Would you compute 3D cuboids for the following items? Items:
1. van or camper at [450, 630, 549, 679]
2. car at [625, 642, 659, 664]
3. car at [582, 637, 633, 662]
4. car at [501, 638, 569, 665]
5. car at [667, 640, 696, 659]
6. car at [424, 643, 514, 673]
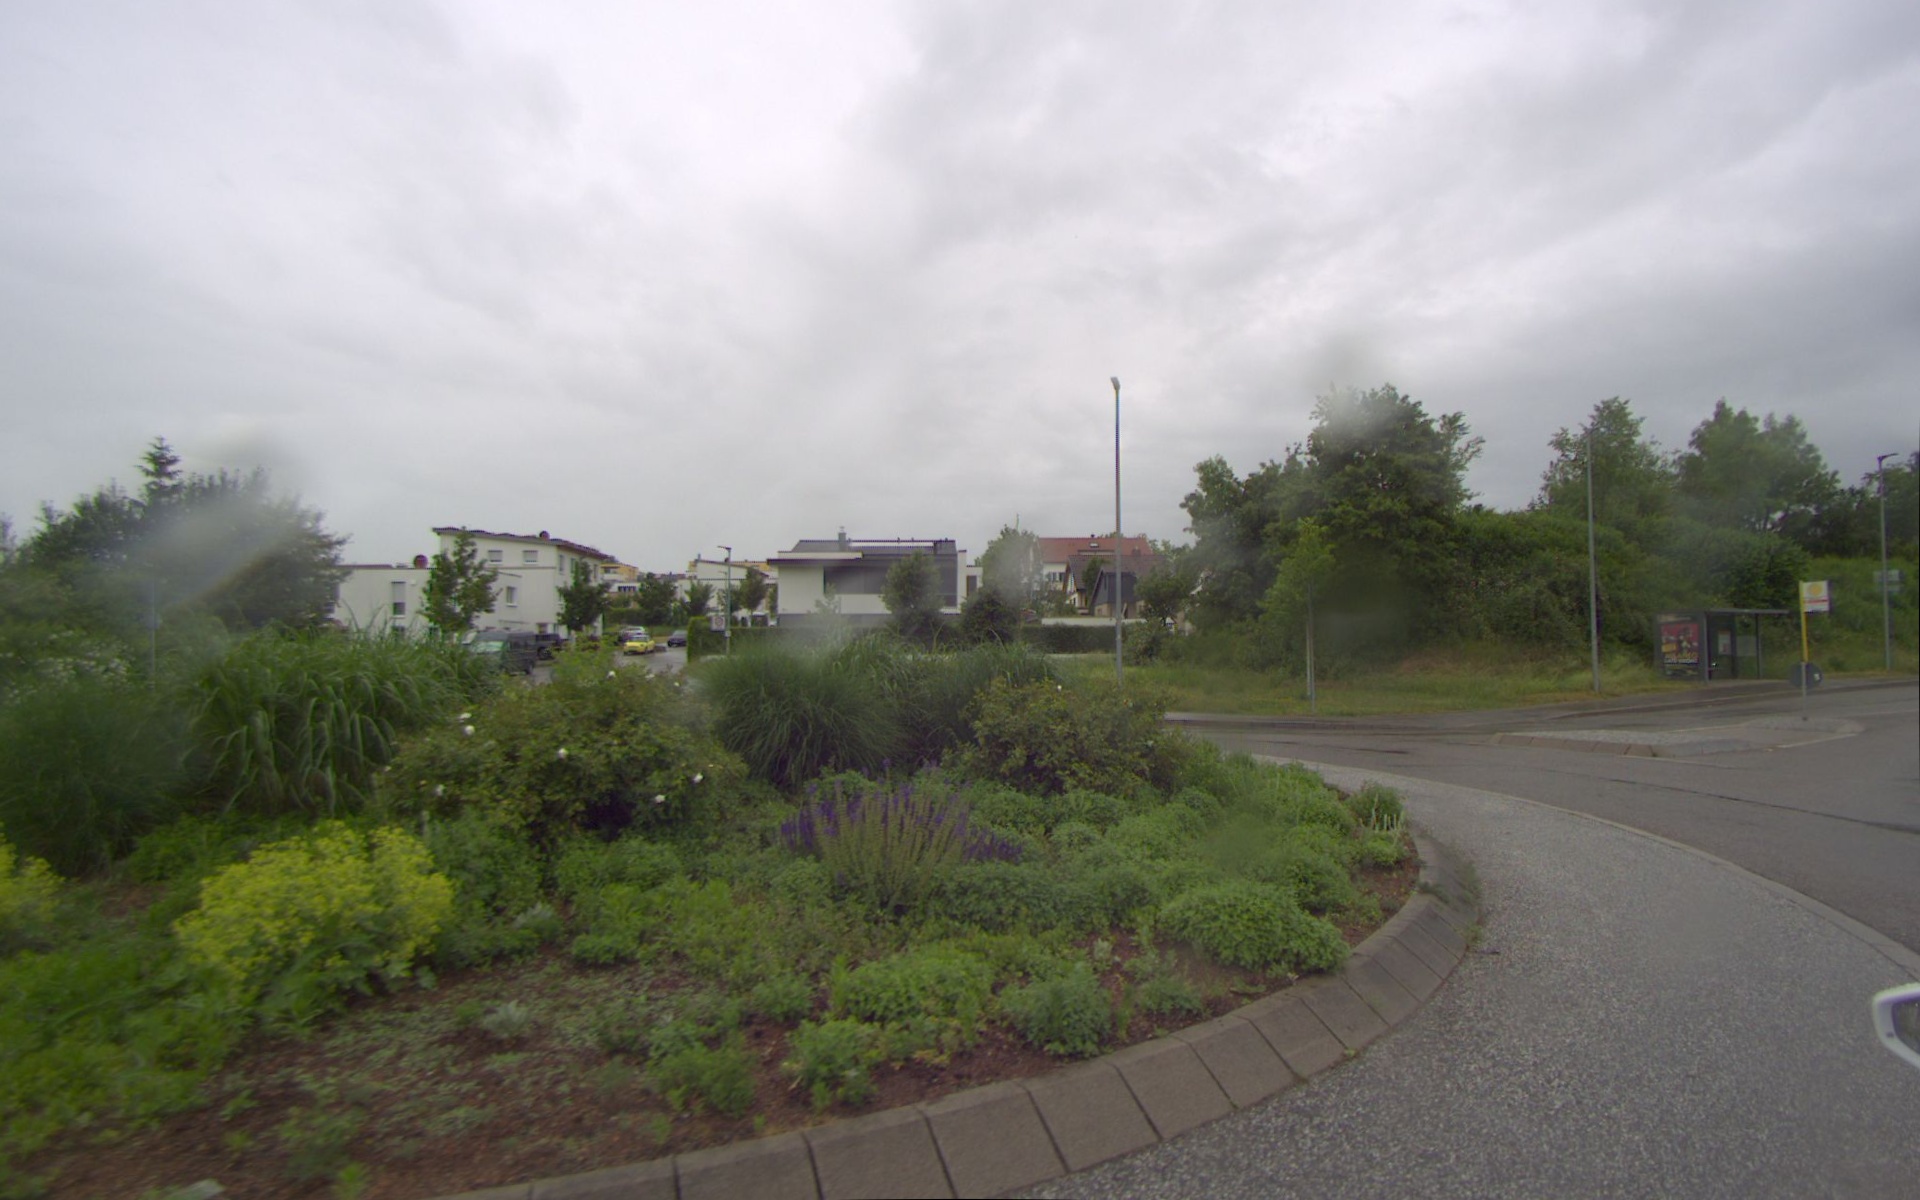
[{"bbox_3d":[-24.945,2.920,54.788,2.482,2.526,6.210,0,-2,0],"label":"van or camper"},{"bbox_3d":[-25.662,4.275,81.148,1.653,1.679,3.576,0,-2,-2],"label":"car"},{"bbox_3d":[-28.979,4.080,82.772,3.648,2.040,1.753,1,-3,-9],"label":"car"},{"bbox_3d":[-30.529,3.741,72.197,4.137,1.864,1.788,1,-3,-9],"label":"car"},{"bbox_3d":[-26.101,4.611,94.228,1.840,1.757,3.999,0,-2,-3],"label":"car"},{"bbox_3d":[-30.594,3.617,62.667,4.581,1.770,2.021,-1,-2,-4],"label":"car"}]
